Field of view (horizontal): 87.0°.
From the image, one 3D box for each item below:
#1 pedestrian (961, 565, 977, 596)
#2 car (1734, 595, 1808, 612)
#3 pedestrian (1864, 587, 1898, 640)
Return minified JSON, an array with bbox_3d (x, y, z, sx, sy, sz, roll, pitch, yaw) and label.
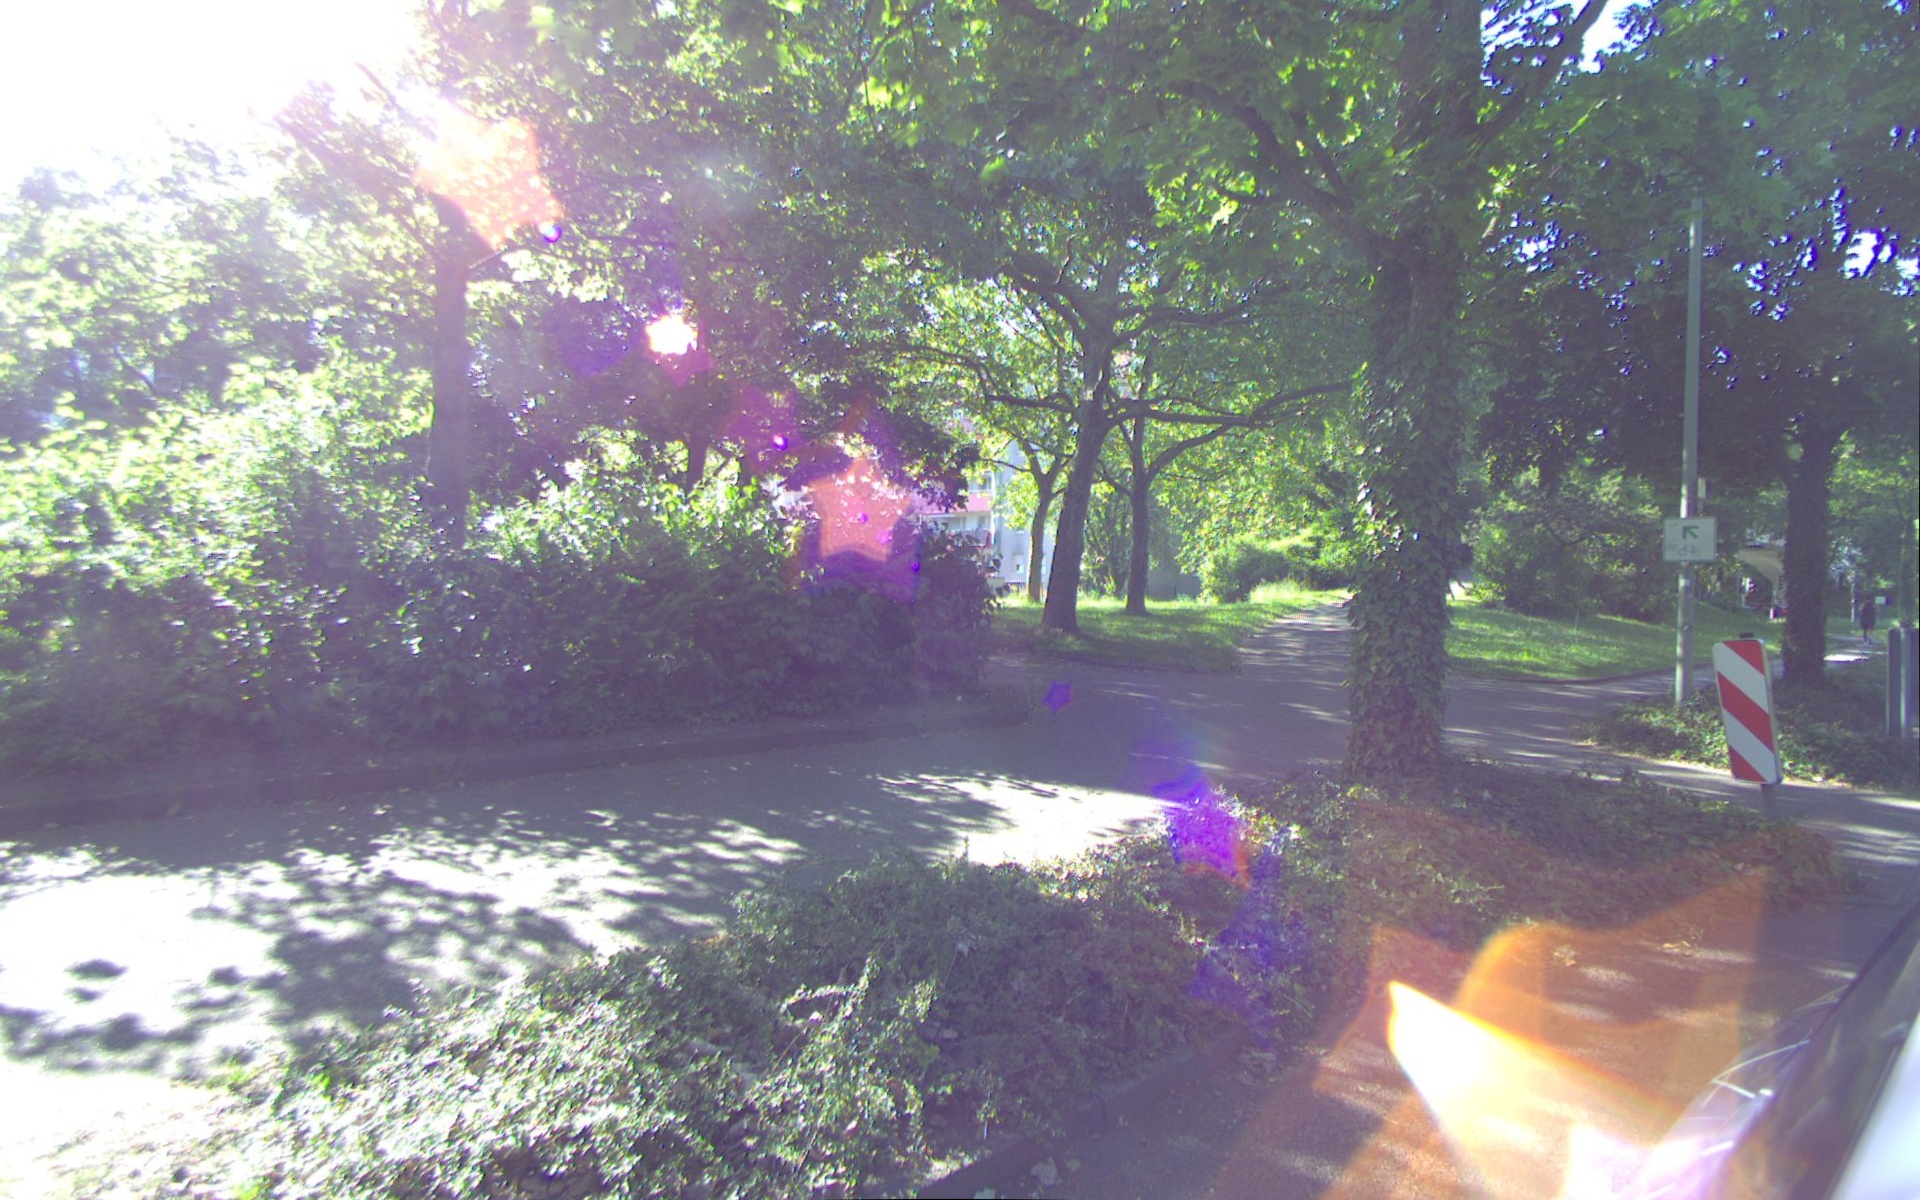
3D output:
[{"bbox_3d":[0.465,-0.996,51.840,0.618,1.609,0.676,-1,-1,19],"label":"pedestrian"},{"bbox_3d":[61.597,0.245,76.906,1.726,1.282,4.087,0,0,-39],"label":"car"},{"bbox_3d":[32.413,0.461,35.623,0.659,1.855,0.792,1,0,-41],"label":"pedestrian"}]
